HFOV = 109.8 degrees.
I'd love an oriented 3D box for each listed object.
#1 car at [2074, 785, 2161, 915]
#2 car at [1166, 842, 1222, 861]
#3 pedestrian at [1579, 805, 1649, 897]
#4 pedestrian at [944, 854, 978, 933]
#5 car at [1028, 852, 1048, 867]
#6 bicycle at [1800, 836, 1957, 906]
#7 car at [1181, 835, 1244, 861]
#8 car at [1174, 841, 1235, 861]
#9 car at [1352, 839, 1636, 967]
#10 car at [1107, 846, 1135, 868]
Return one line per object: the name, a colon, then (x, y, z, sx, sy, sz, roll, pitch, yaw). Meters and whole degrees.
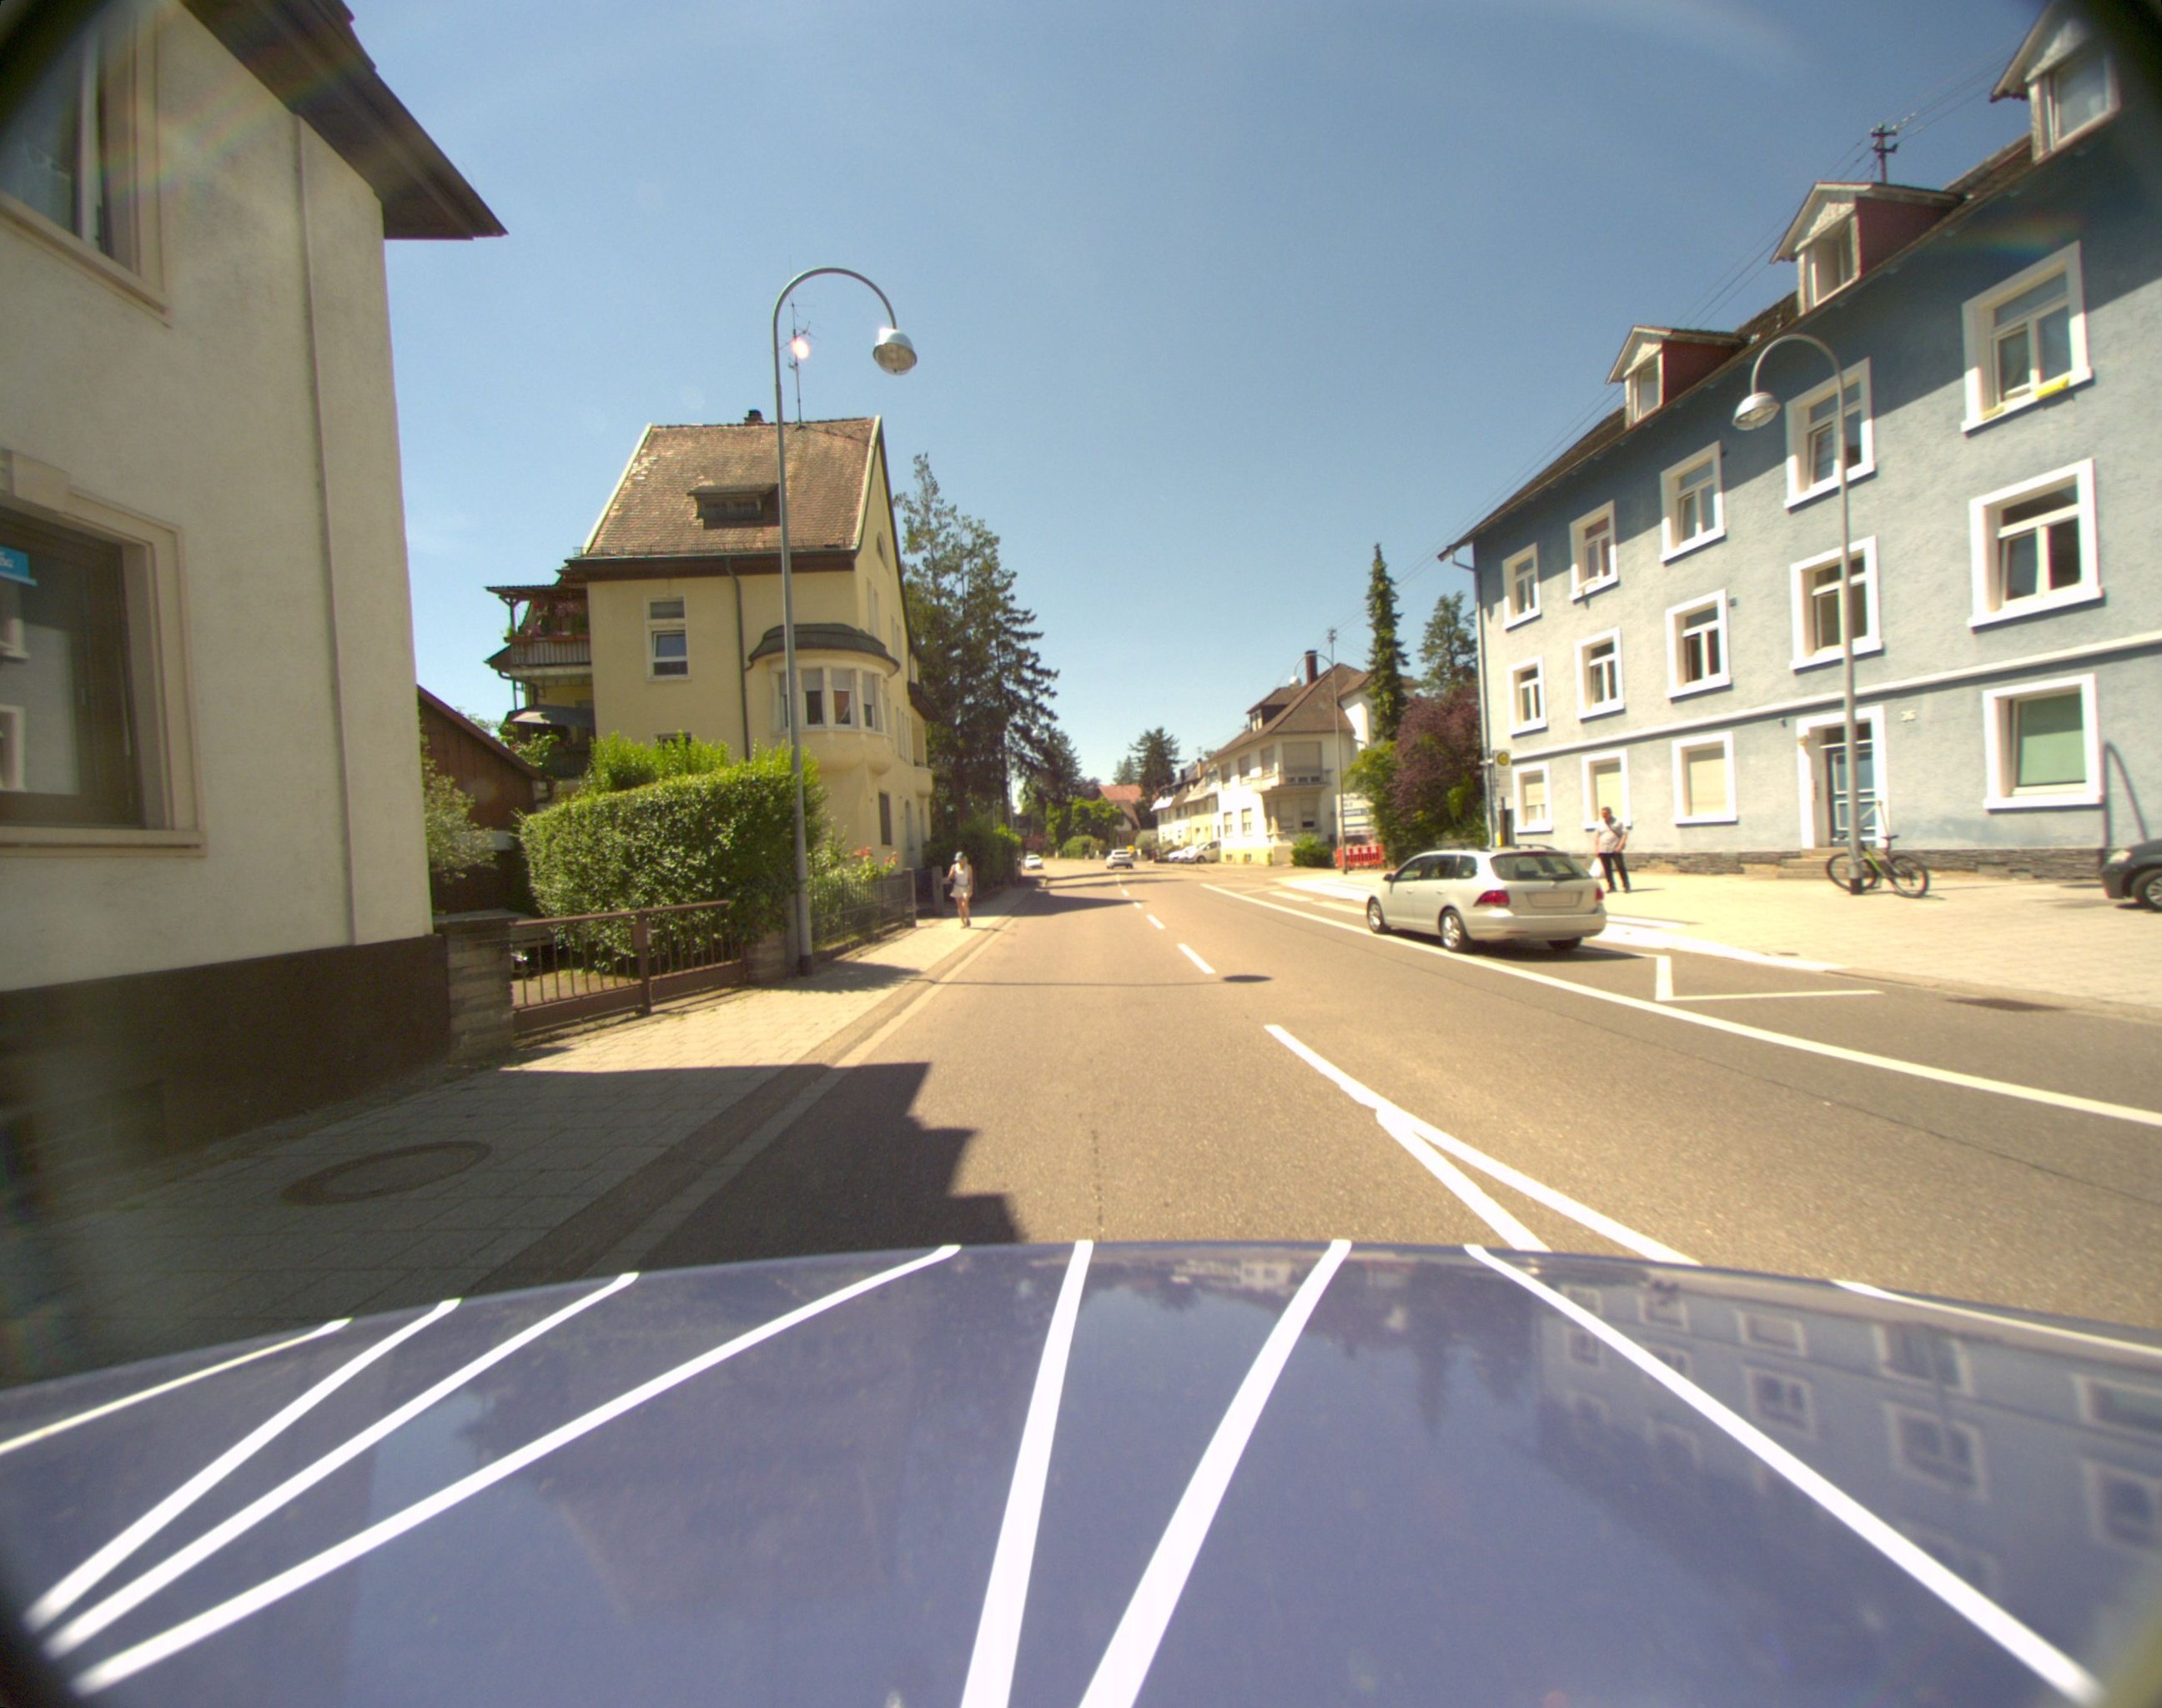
car: (13.770, -0.047, 7.991, 1.582, 1.526, 3.772, -4, 2, -6)
car: (9.531, -0.197, 64.006, 4.264, 1.487, 1.879, -1, 0, 26)
pedestrian: (11.308, -0.067, 16.151, 0.758, 1.838, 0.771, -7, 1, -8)
pedestrian: (-2.562, 0.837, 16.298, 0.625, 1.634, 0.771, 1, 1, -3)
car: (-4.495, 0.541, 79.629, 1.689, 1.446, 3.736, -5, 1, -8)
bicycle: (12.787, 0.235, 12.283, 0.497, 0.972, 1.973, -7, 2, 5)
car: (10.103, -0.443, 58.503, 4.367, 1.866, 1.848, -2, 1, -13)
car: (9.898, -0.228, 60.945, 4.484, 1.486, 1.975, -2, 0, -4)
car: (5.908, 0.683, 11.602, 1.843, 1.520, 4.394, 2, -2, -1)
car: (3.165, 0.223, 60.674, 1.825, 1.521, 3.948, -3, 2, -1)
